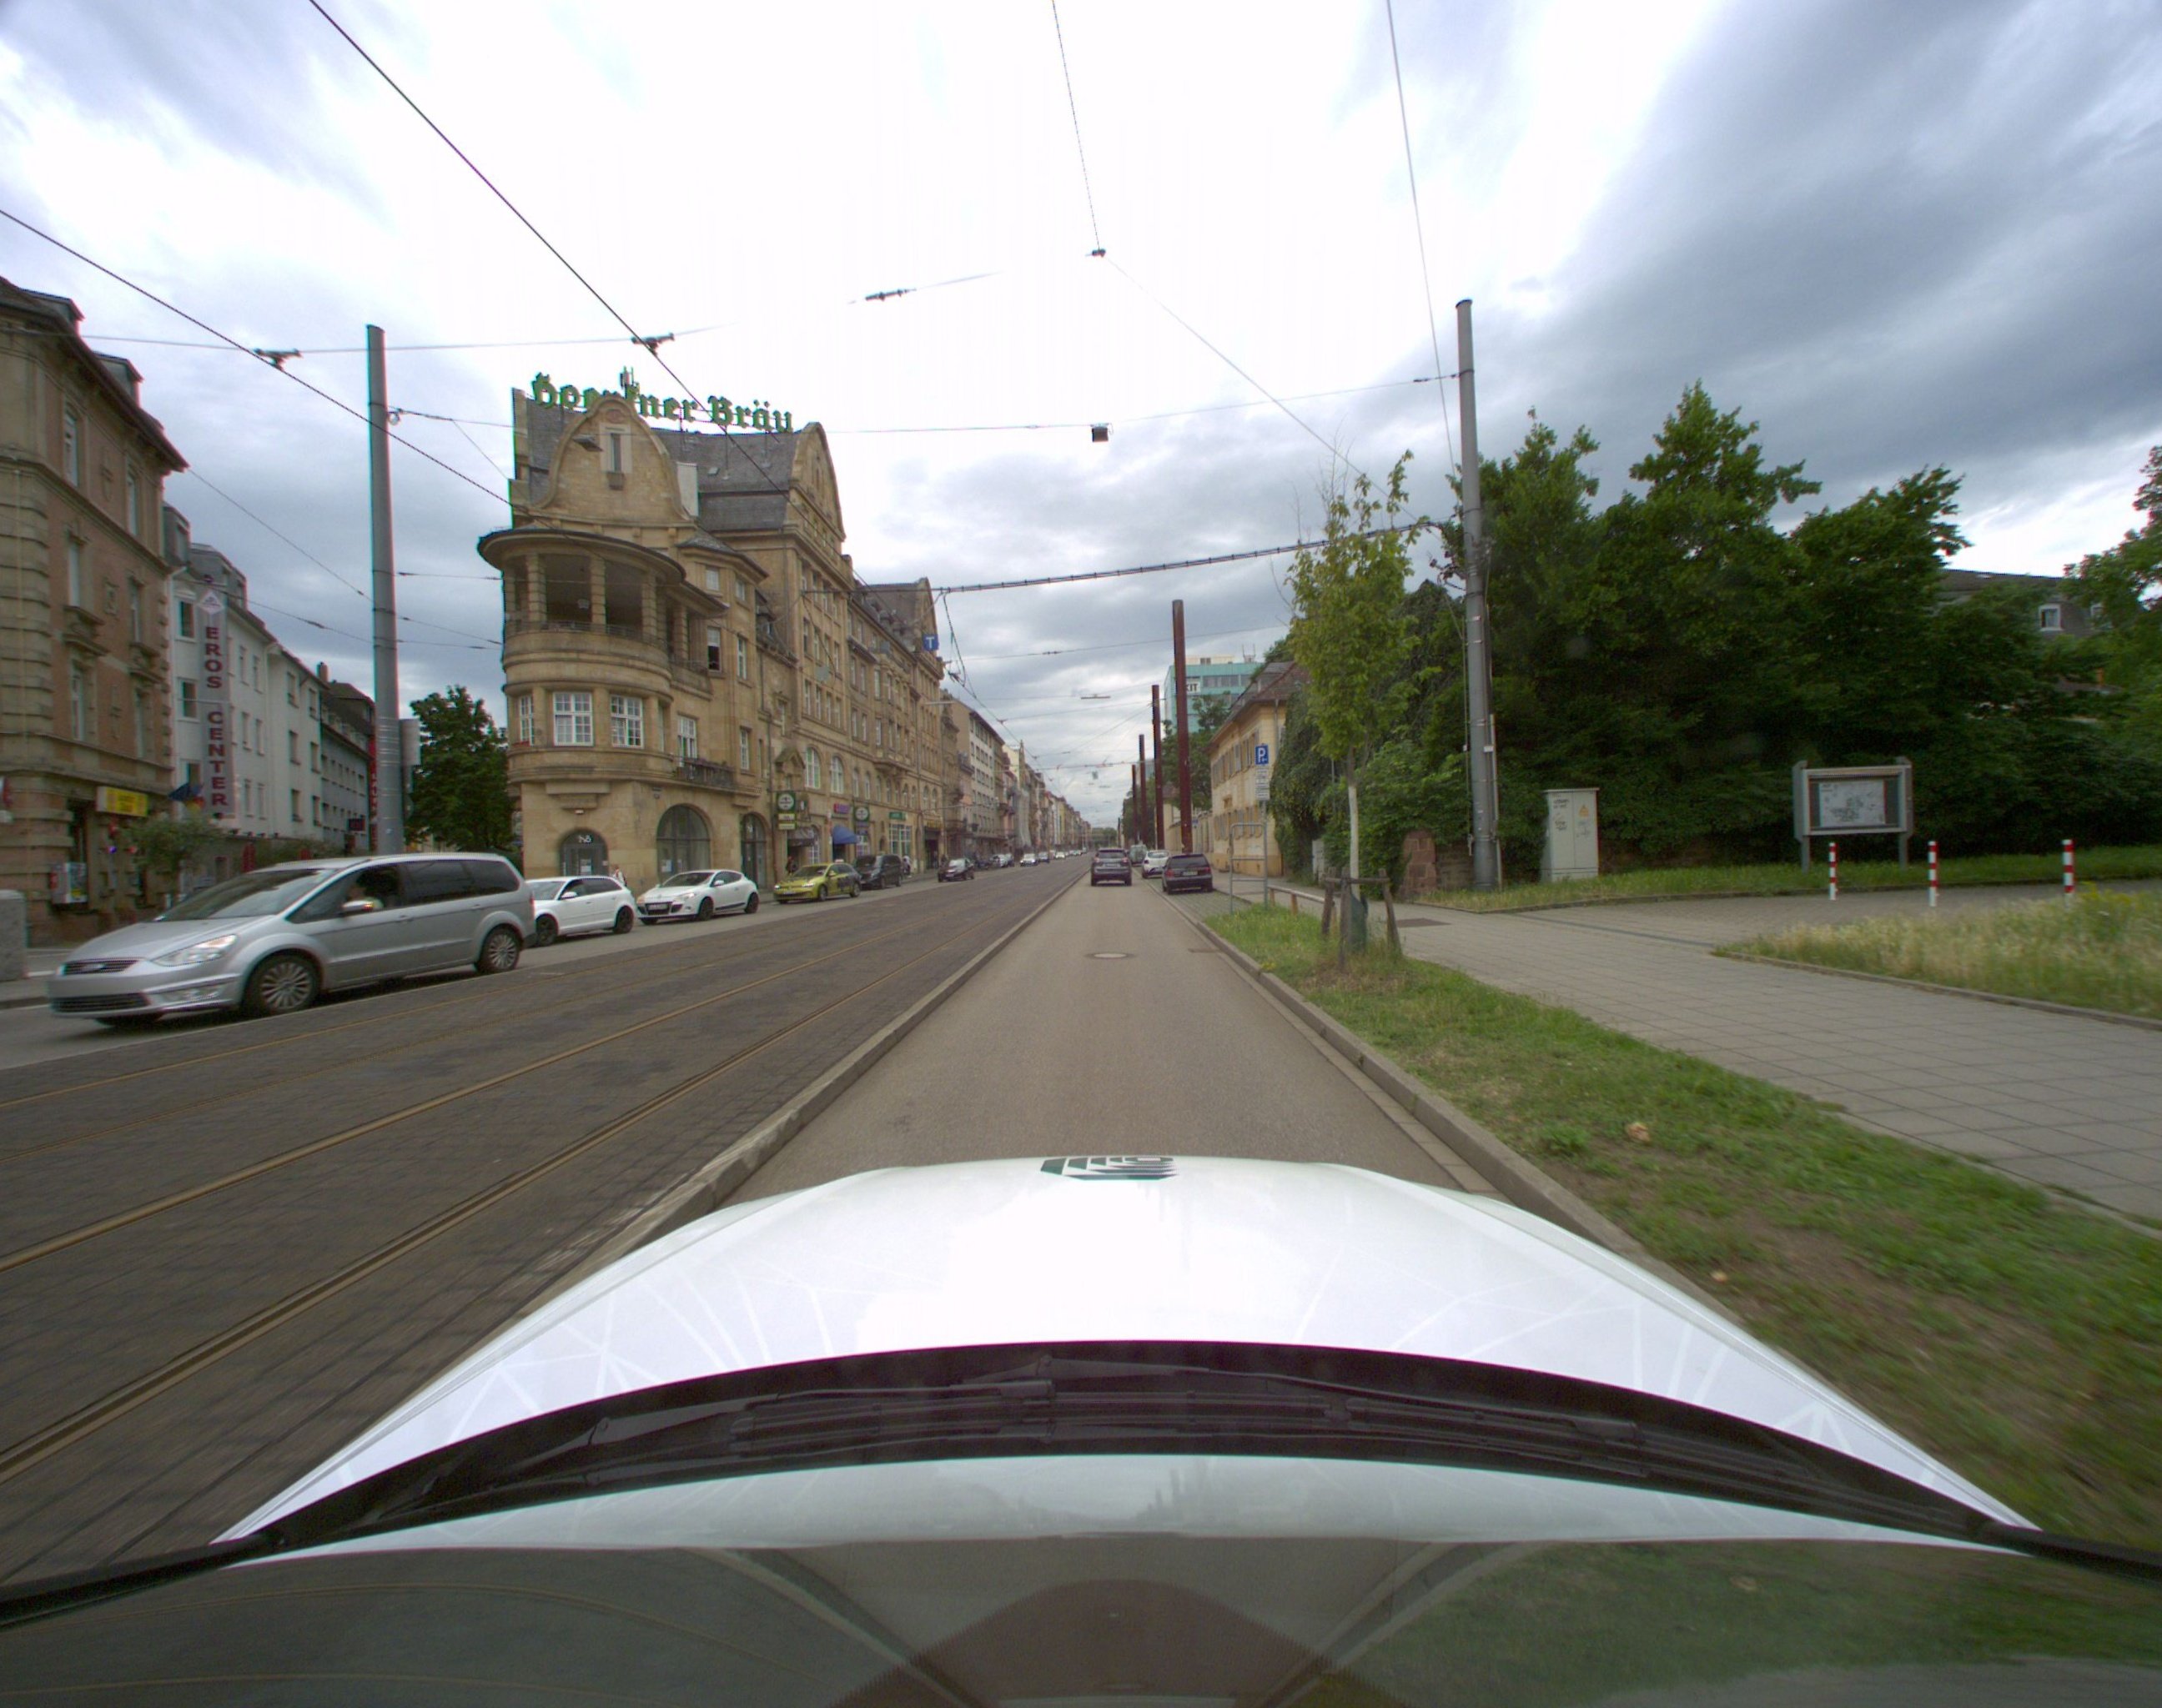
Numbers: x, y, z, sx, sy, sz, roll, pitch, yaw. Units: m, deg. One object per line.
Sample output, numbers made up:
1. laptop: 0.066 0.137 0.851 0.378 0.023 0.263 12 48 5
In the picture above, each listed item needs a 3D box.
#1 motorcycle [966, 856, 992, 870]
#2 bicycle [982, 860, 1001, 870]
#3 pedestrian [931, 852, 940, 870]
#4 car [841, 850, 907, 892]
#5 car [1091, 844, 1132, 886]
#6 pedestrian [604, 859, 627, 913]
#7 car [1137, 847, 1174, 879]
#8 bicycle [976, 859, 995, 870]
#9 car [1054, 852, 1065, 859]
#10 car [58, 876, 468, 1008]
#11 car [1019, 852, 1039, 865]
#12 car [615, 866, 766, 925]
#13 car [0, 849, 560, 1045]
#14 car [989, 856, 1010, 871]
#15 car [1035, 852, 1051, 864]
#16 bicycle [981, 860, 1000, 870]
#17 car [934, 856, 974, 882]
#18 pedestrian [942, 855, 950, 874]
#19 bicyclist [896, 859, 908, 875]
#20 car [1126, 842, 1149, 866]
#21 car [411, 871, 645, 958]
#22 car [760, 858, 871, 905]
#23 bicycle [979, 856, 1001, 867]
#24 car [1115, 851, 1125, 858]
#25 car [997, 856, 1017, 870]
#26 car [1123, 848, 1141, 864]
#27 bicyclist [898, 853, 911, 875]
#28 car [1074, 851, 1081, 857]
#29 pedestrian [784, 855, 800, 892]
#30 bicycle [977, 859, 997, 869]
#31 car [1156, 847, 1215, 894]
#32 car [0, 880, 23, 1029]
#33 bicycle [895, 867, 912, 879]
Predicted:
1. motorcycle: -9.974 0.858 79.625 2.354 1.302 0.874 -2 0 -35
2. bicycle: -9.435 1.135 86.345 1.963 1.001 0.462 -2 0 -6
3. pedestrian: -13.211 0.651 73.921 0.682 1.613 0.742 -2 0 2
4. car: -10.866 0.826 43.118 1.892 1.977 5.099 -4 0 1
5. car: 1.393 0.469 37.258 1.743 1.756 3.925 -1 0 2
6. pedestrian: -15.175 1.048 26.543 0.535 1.719 0.625 -2 0 -37
7. car: 4.144 0.485 45.771 1.749 1.574 3.932 -4 0 1
8. bicycle: -9.602 1.043 81.883 1.919 1.001 0.462 -2 0 -6
9. car: -4.163 0.282 158.188 1.681 1.420 4.137 -2 0 2
10. car: -11.631 1.149 12.049 1.854 1.399 3.901 -4 0 5
11. car: -6.127 0.522 96.285 1.752 1.449 4.617 -2 0 2
12. car: -10.955 1.110 23.238 1.917 1.380 4.264 -2 0 5
13. car: -9.016 0.848 9.934 1.855 1.706 4.913 -3 0 3
14. car: -9.130 1.055 91.616 1.769 1.504 4.403 -2 0 2
15. car: -5.324 0.557 114.996 1.752 1.671 4.617 -2 0 2
16. bicycle: -9.683 1.142 87.031 1.963 1.001 0.462 -2 0 -6
17. car: -7.887 0.910 50.804 1.822 1.433 4.663 -4 0 -2
18. pedestrian: -11.812 0.937 71.301 0.566 1.598 0.718 -2 0 1
19. bicyclist: -12.421 0.885 56.495 0.609 1.117 0.660 -2 0 2
20. car: 5.337 -0.027 77.601 1.844 2.115 4.986 -5 0 2
21. car: -11.520 1.176 17.409 1.739 1.380 4.366 -5 0 3
22. car: -10.106 0.997 31.386 1.885 1.511 4.445 -3 0 14
23. bicycle: -9.817 0.775 87.943 2.228 1.126 0.503 -2 0 -6
24. car: 7.643 0.072 159.201 1.769 1.420 4.137 -2 0 2
25. car: -8.869 1.087 98.052 1.769 1.504 4.403 -2 0 2
26. car: 5.769 0.223 92.021 1.743 1.596 3.925 -5 0 2
27. bicyclist: -12.416 0.706 57.313 0.609 1.487 0.972 -2 0 2
28. car: -1.021 0.030 234.375 1.988 1.635 3.998 -2 -1 -1
29. pedestrian: -13.946 0.927 39.310 0.493 1.728 0.765 -2 0 -2
30. bicycle: -9.574 1.028 82.715 1.963 1.001 0.462 -2 0 -6
31. car: 3.685 0.545 29.369 1.631 1.433 3.932 -4 0 1
32. car: -12.368 1.116 6.532 1.853 1.534 4.310 -4 0 7
33. bicycle: -12.389 1.310 56.969 0.579 0.745 2.252 -2 0 2
